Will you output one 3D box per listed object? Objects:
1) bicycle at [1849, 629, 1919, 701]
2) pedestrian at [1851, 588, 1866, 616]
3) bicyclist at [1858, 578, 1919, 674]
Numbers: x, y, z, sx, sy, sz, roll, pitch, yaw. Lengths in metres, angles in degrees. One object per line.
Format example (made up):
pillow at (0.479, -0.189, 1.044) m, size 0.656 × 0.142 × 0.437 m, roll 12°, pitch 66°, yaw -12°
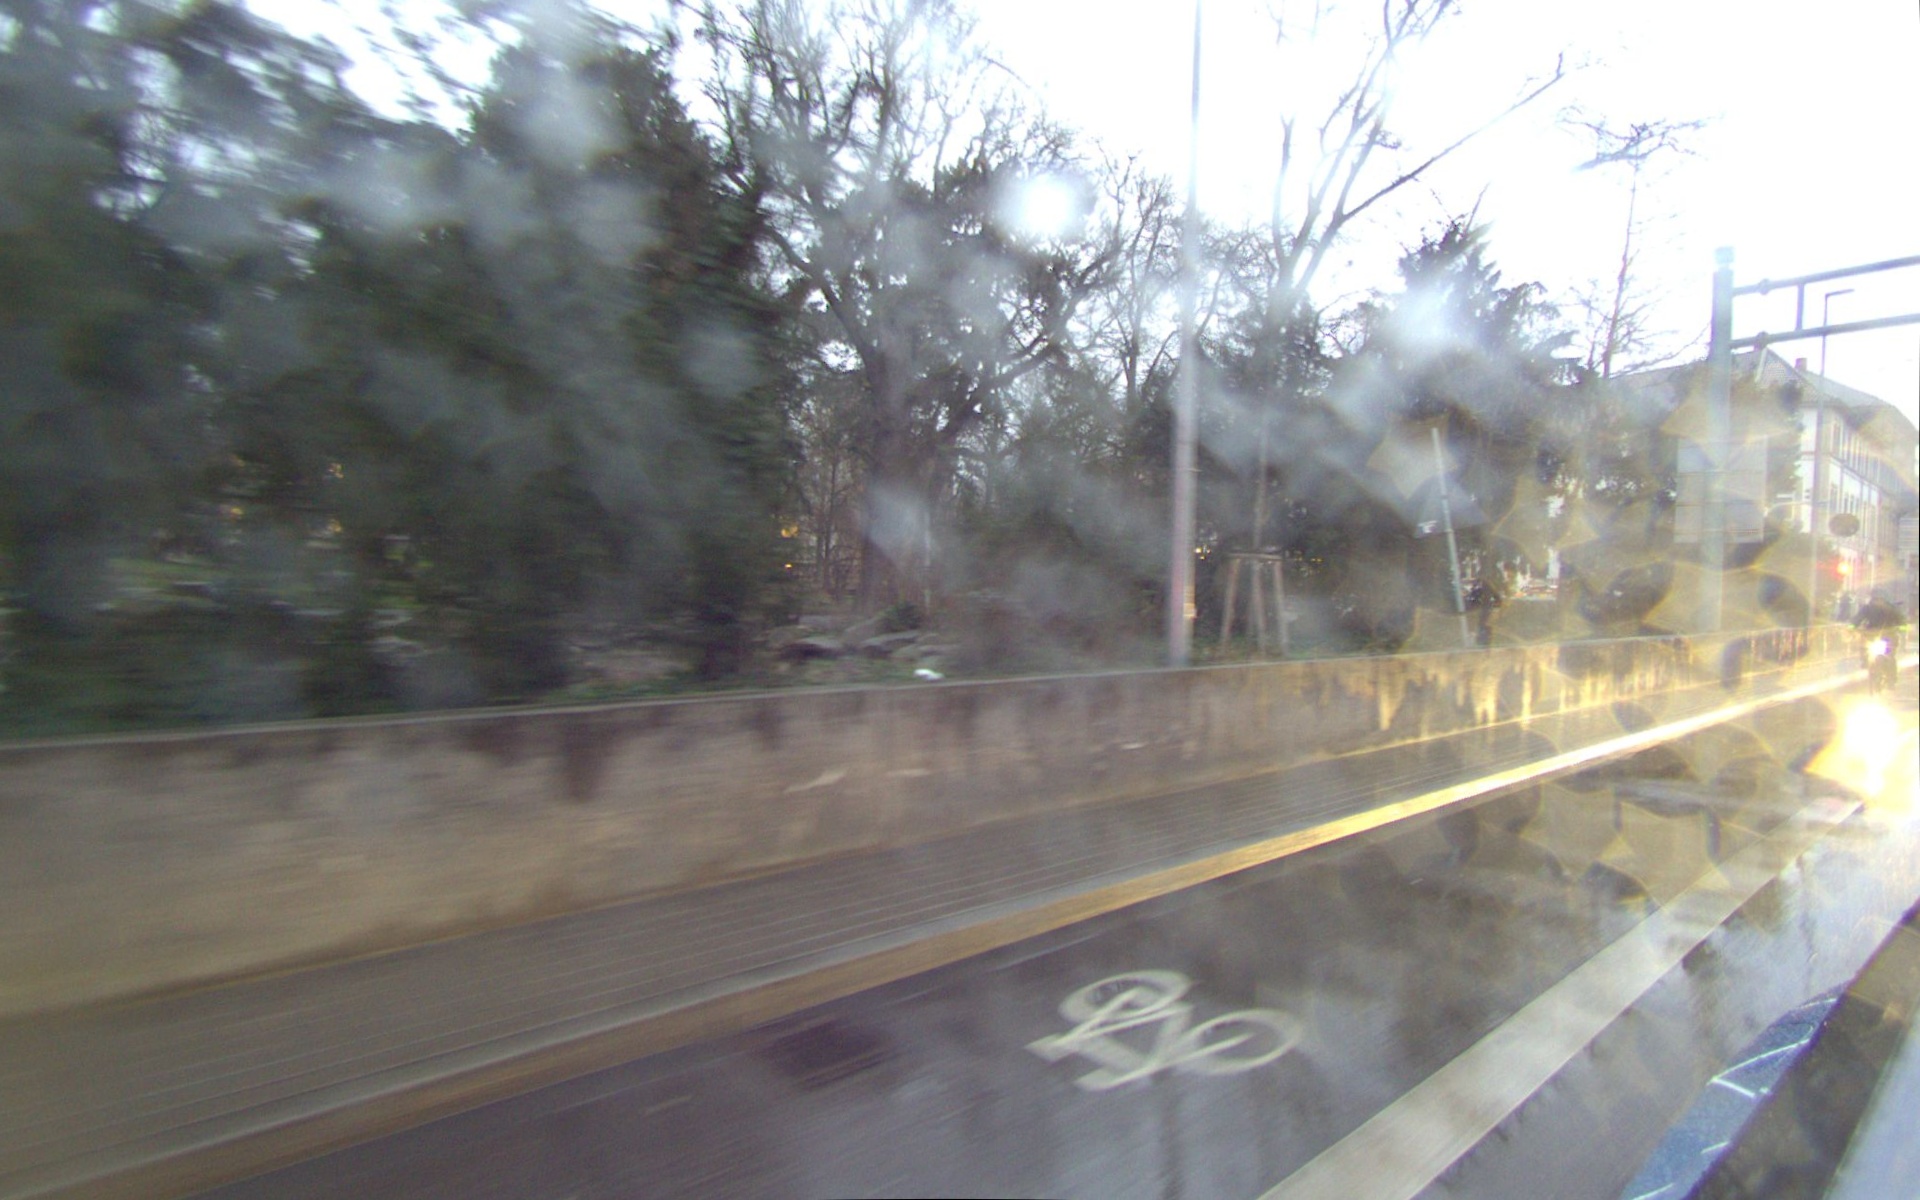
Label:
bicycle at (14.267, 0.962, 15.483) m, size 2.009 × 0.978 × 0.647 m, roll 0°, pitch 2°, yaw -39°
pedestrian at (51.446, 0.113, 57.917) m, size 0.577 × 1.529 × 0.520 m, roll 1°, pitch 2°, yaw -41°
bicyclist at (14.271, 0.386, 15.462) m, size 0.874 × 1.406 × 0.647 m, roll 1°, pitch 1°, yaw -39°
